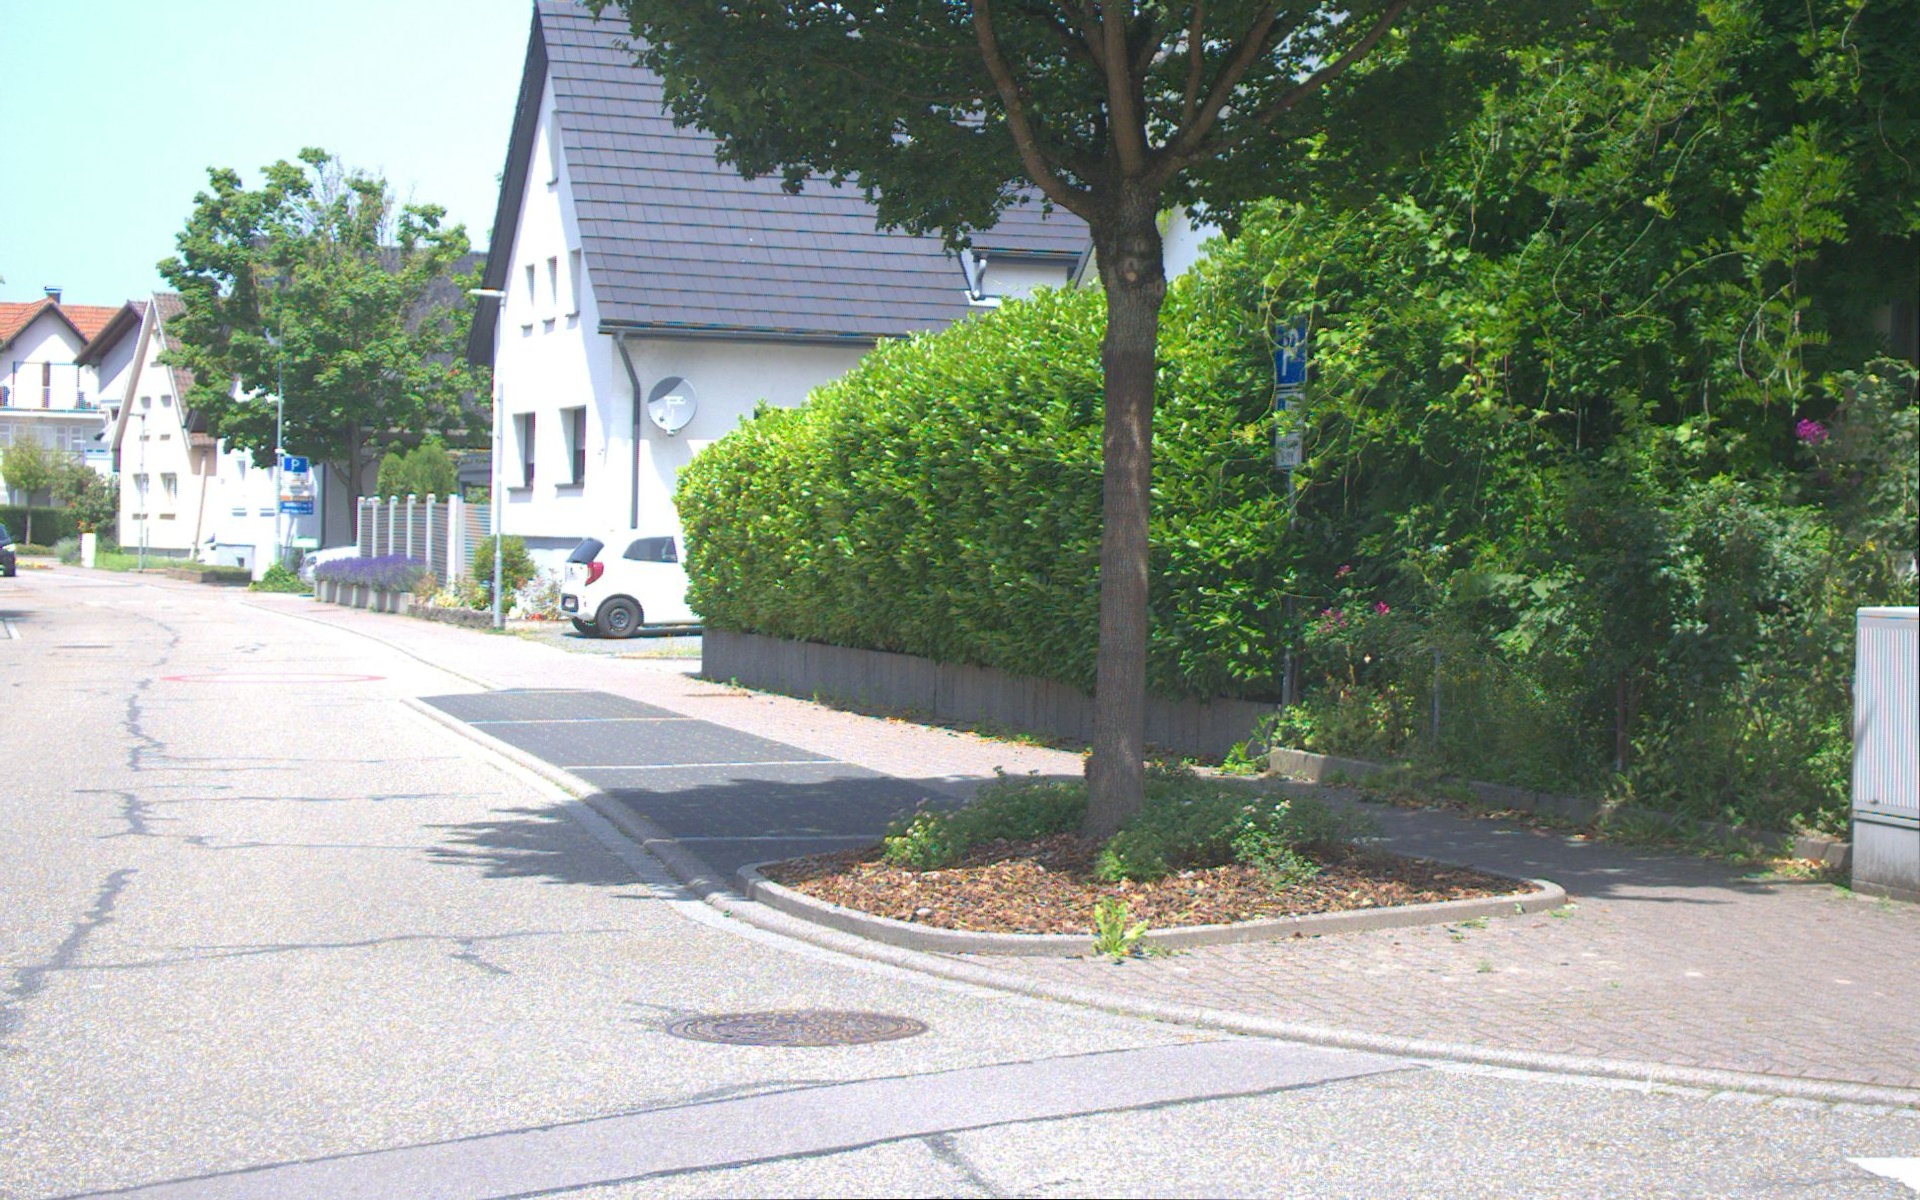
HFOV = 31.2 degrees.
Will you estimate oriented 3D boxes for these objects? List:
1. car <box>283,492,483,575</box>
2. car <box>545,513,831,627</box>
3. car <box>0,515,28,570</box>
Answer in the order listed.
[{"bbox_3d":[-13.153,-1.536,78.306,4.315,1.760,1.893,-1,4,-15],"label":"car"},{"bbox_3d":[-3.844,-0.440,48.471,3.656,1.469,1.766,-1,3,-21],"label":"car"},{"bbox_3d":[-28.966,-1.750,103.099,1.775,1.618,4.107,0,1,-12],"label":"car"}]
